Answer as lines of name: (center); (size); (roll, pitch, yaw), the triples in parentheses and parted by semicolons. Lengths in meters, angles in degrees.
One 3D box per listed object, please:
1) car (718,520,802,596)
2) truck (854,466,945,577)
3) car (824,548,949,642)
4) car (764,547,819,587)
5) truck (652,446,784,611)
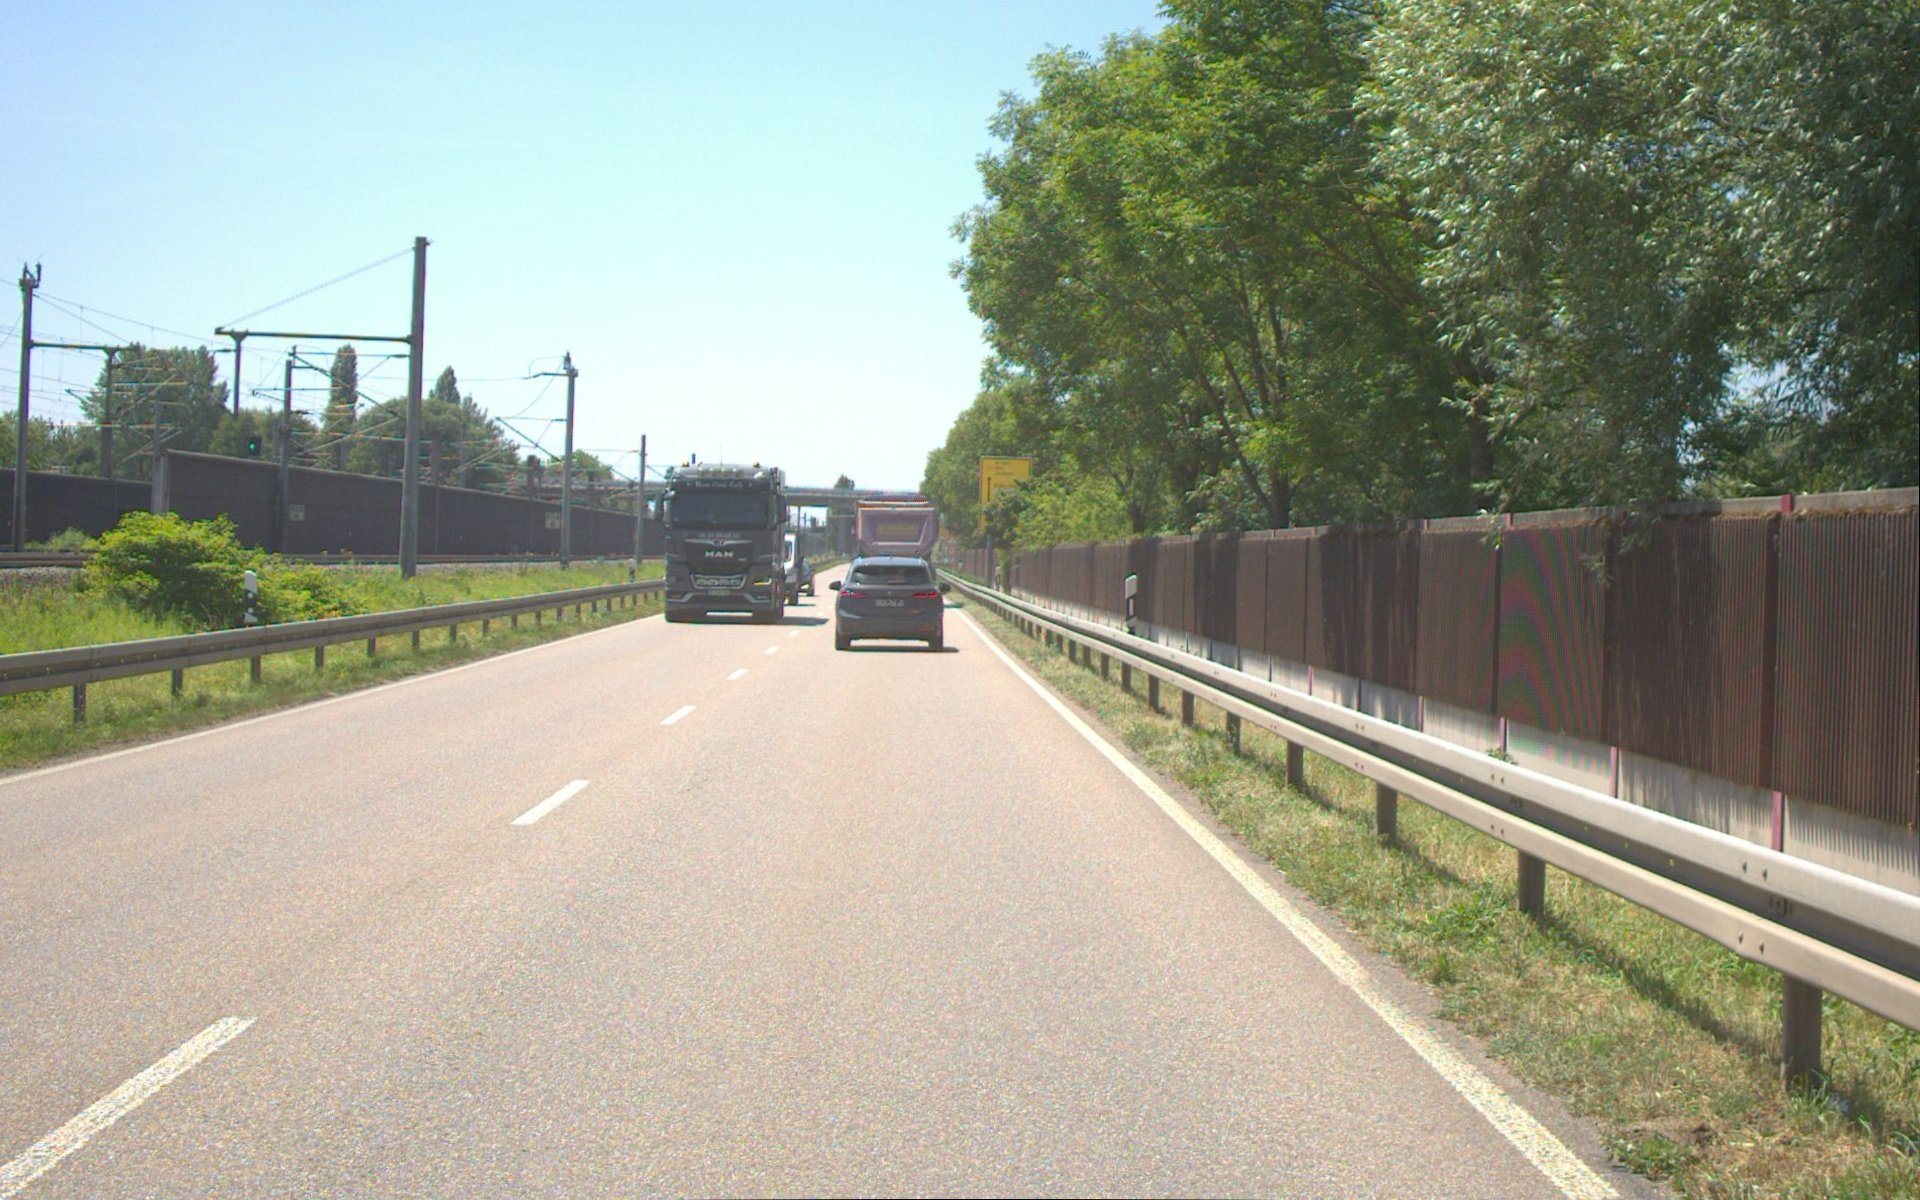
car: (-6.273, -1.325, 108.544); (2.261, 2.279, 6.235); (1, 1, 0)
truck: (-1.957, -2.518, 112.310); (2.770, 3.413, 10.820); (1, 1, -1)
car: (-1.288, -0.113, 58.395); (1.993, 1.503, 4.001); (0, 1, -3)
car: (-6.586, -1.318, 134.451); (1.975, 1.503, 4.163); (1, 1, -1)
truck: (-5.652, -1.696, 81.821); (2.658, 3.614, 10.979); (1, 1, -2)
